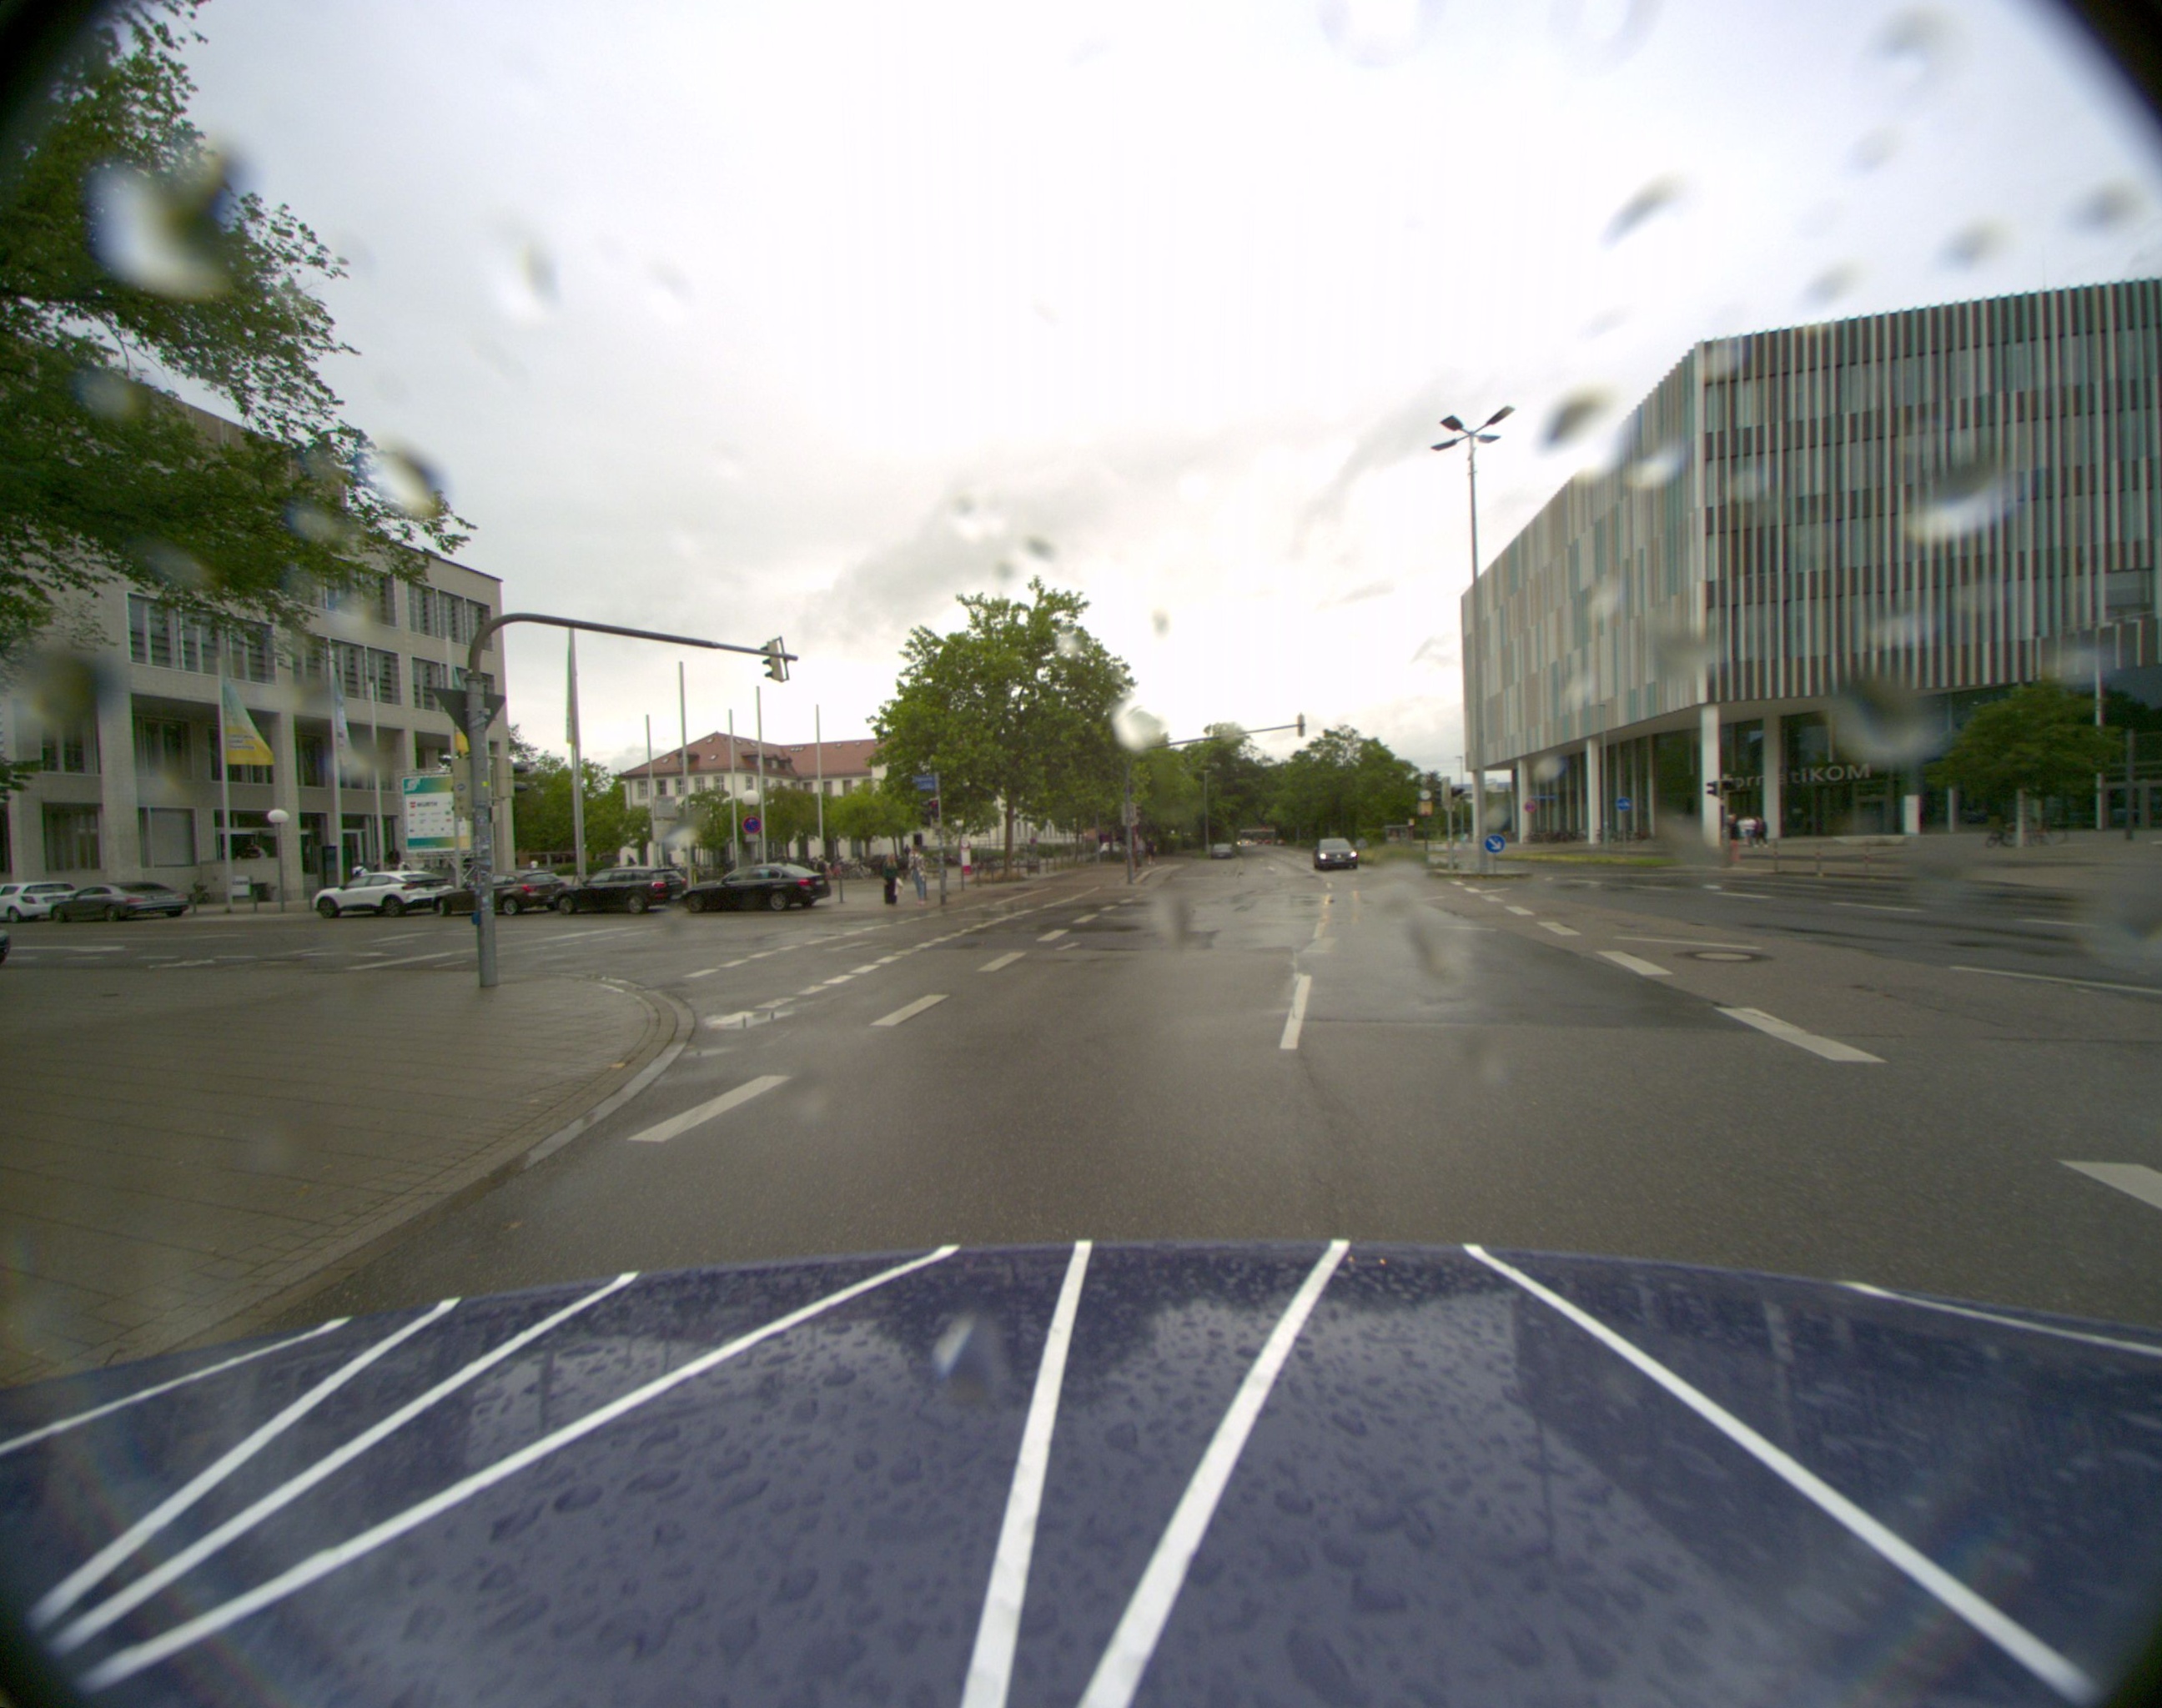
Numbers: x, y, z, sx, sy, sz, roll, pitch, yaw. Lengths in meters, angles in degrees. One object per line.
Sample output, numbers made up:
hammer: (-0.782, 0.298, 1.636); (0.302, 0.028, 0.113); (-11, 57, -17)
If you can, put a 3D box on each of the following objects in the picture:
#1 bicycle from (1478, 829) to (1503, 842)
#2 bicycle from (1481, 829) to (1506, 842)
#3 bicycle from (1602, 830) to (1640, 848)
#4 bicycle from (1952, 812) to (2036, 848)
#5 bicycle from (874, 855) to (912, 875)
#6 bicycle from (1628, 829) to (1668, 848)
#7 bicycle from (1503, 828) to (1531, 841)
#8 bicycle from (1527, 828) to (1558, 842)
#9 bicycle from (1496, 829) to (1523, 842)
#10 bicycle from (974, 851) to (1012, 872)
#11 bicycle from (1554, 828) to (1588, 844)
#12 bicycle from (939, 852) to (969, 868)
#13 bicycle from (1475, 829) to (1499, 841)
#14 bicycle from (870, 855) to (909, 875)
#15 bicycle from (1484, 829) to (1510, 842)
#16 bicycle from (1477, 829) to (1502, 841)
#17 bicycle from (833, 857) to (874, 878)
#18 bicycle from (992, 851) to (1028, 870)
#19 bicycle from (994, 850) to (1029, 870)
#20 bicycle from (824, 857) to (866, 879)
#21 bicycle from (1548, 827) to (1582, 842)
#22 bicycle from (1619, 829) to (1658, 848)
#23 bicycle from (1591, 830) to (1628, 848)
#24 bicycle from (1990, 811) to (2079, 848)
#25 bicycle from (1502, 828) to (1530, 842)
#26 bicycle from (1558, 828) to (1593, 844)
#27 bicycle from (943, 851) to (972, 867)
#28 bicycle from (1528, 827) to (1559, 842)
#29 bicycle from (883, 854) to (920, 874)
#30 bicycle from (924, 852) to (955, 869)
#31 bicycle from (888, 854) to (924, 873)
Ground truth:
bicycle: (43.501, -1.968, 80.661); (2.280, 1.215, 0.600); (-2, 1, 24)
bicycle: (43.220, -1.943, 79.585); (2.280, 1.215, 0.600); (-2, 1, 24)
bicycle: (38.781, -1.106, 54.599); (2.284, 1.215, 0.599); (-2, 1, 2)
bicycle: (33.315, -0.882, 27.748); (2.284, 1.215, 0.599); (-2, 1, 2)
bicycle: (-12.294, 0.696, 49.750); (2.284, 1.215, 0.599); (-2, 1, 2)
bicycle: (39.135, -1.088, 52.431); (2.284, 1.215, 0.599); (-2, 1, 2)
bicycle: (43.382, -1.894, 75.640); (2.280, 1.215, 0.600); (-2, 1, 24)
bicycle: (41.127, -1.708, 67.779); (2.280, 1.215, 0.600); (-2, 1, 24)
bicycle: (43.377, -1.912, 76.954); (2.280, 1.215, 0.600); (-2, 1, 24)
bicycle: (-5.542, 0.488, 47.870); (2.284, 1.215, 0.599); (-2, 1, 2)
bicycle: (40.514, -1.471, 62.869); (2.280, 1.215, 0.600); (-2, 1, 24)
bicycle: (-10.210, 0.459, 61.232); (2.284, 1.215, 0.599); (-2, 1, 2)
bicycle: (44.962, -2.066, 84.176); (2.280, 1.215, 0.600); (-2, 1, 24)
bicycle: (-12.269, 0.703, 48.730); (2.284, 1.215, 0.599); (-2, 1, 2)
bicycle: (43.051, -1.926, 78.715); (2.280, 1.215, 0.600); (-2, 1, 24)
bicycle: (43.986, -2.001, 81.827); (2.280, 1.215, 0.600); (-2, 1, 24)
bicycle: (-13.902, 0.804, 46.382); (2.284, 1.215, 0.599); (-2, 1, 2)
bicycle: (-4.779, 0.418, 51.055); (2.284, 1.215, 0.599); (-2, 1, 2)
bicycle: (-4.761, 0.406, 51.875); (2.284, 1.215, 0.599); (-2, 1, 2)
bicycle: (-14.172, 0.824, 45.669); (2.284, 1.215, 0.599); (-2, 1, 2)
bicycle: (40.676, -1.638, 63.890); (2.280, 1.215, 0.600); (-2, 1, 24)
bicycle: (38.959, -1.092, 53.108); (2.284, 1.215, 0.599); (-2, 1, 2)
bicycle: (38.777, -1.122, 55.729); (2.284, 1.215, 0.599); (-2, 1, 2)
bicycle: (33.480, -0.847, 26.696); (2.284, 1.215, 0.599); (-2, 1, 2)
bicycle: (42.937, -1.870, 75.021); (2.280, 1.215, 0.600); (-2, 1, 24)
bicycle: (40.227, -1.431, 61.819); (2.280, 1.215, 0.600); (-2, 1, 24)
bicycle: (-10.113, 0.441, 62.311); (2.284, 1.215, 0.599); (-2, 1, 2)
bicycle: (40.802, -1.686, 67.008); (2.280, 1.215, 0.600); (-2, 1, 24)
bicycle: (-11.980, 0.667, 50.623); (2.284, 1.215, 0.599); (-2, 1, 2)
bicycle: (-10.920, 0.520, 58.628); (2.284, 1.215, 0.599); (-2, 1, 2)
bicycle: (-11.838, 0.651, 51.418); (2.284, 1.215, 0.599); (-2, 1, 2)
